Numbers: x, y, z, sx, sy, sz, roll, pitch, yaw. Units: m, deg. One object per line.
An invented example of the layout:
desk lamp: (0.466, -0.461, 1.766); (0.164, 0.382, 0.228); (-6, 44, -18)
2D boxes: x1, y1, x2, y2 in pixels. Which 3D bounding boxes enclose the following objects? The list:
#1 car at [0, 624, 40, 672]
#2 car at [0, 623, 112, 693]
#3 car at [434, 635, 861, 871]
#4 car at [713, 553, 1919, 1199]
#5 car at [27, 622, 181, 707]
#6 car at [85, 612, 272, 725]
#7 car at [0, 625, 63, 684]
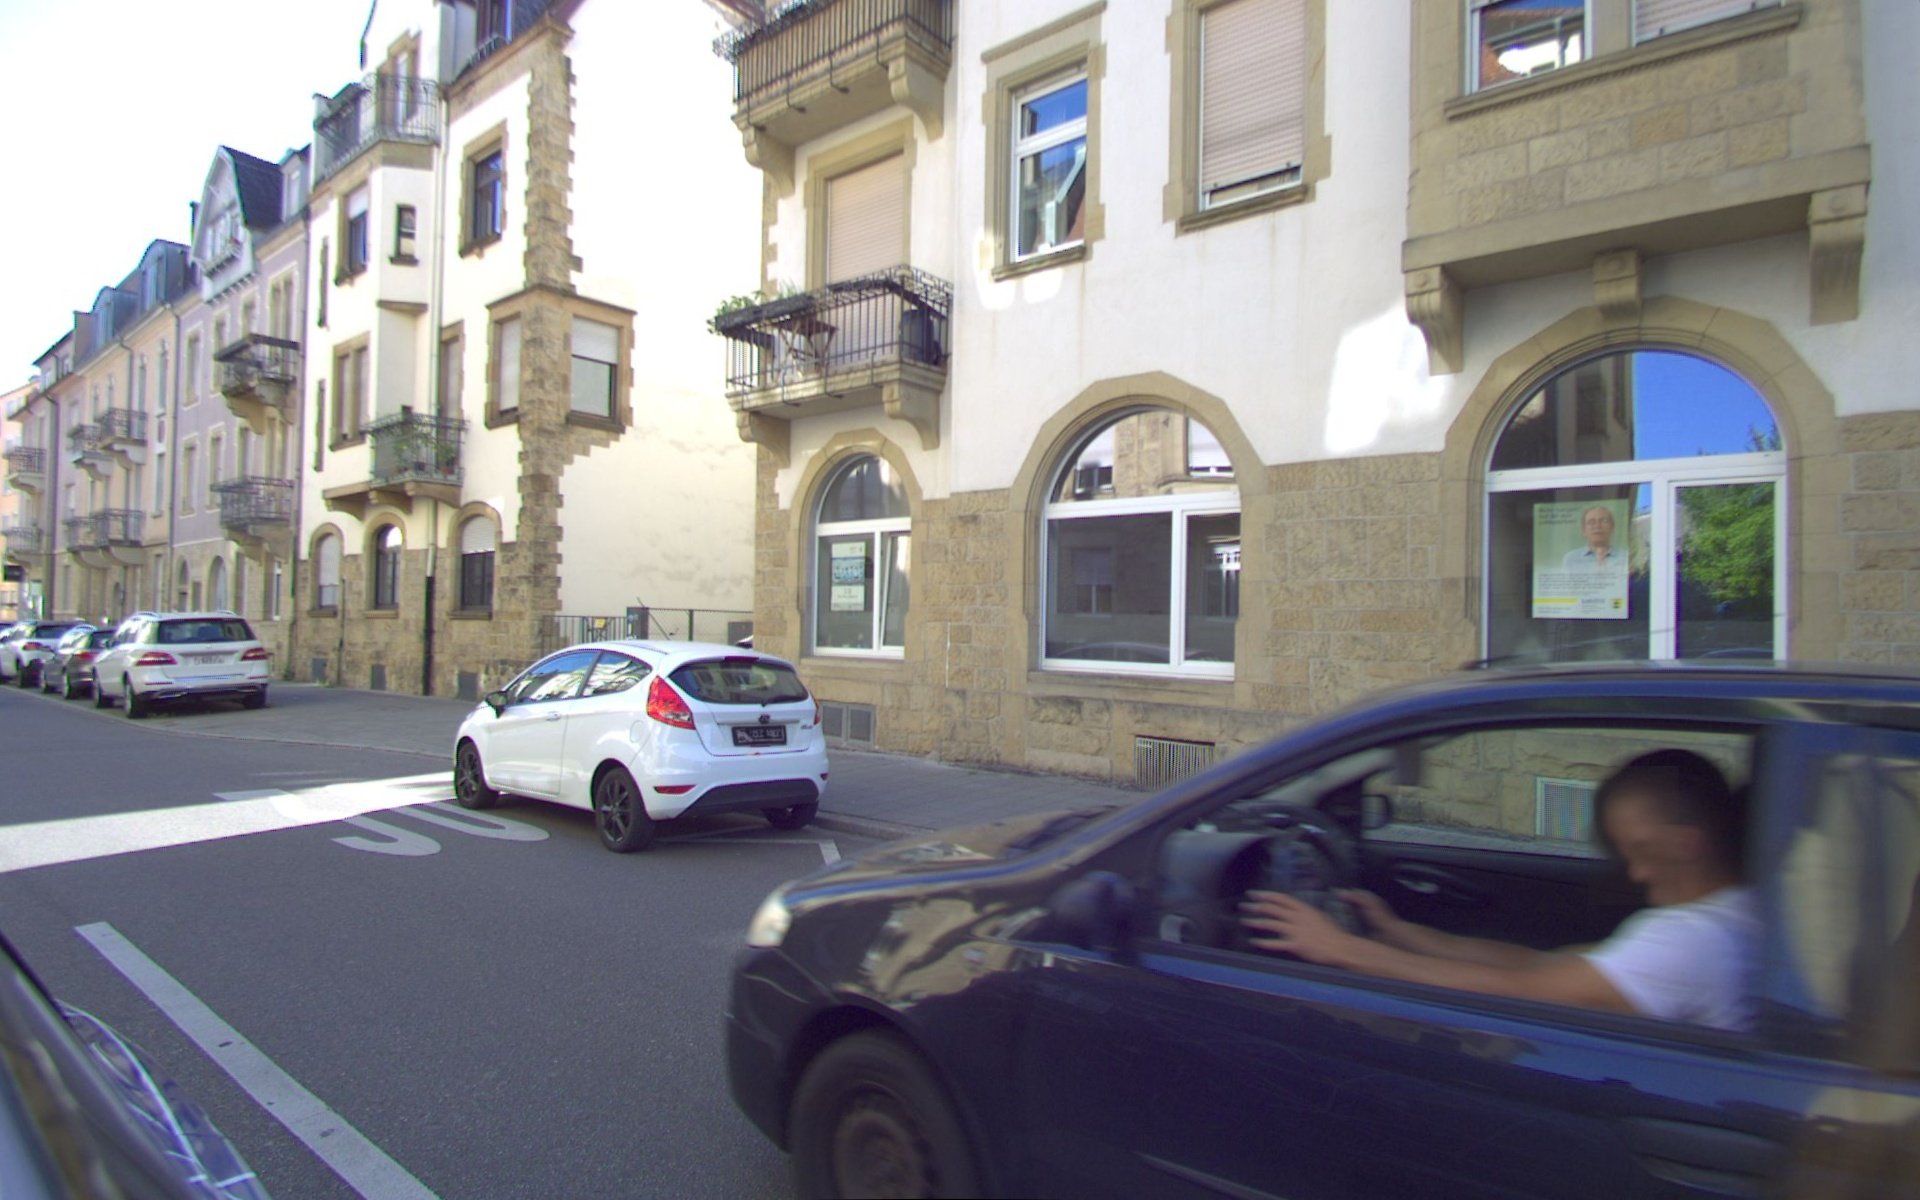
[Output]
car: (-32.930, 1.603, 34.467); (4.319, 1.520, 1.866); (-1, 0, 41)
car: (-22.951, 1.382, 25.429); (4.319, 1.520, 1.866); (-1, 0, 41)
car: (-2.645, 1.046, 8.180); (3.642, 1.469, 1.634); (-2, -5, 42)
car: (1.368, 0.705, 1.926); (3.636, 1.468, 1.637); (-1, -2, 37)
car: (-18.448, 1.290, 21.747); (4.319, 1.519, 1.866); (-1, 2, 41)
car: (-13.961, 1.099, 17.998); (4.209, 1.740, 1.866); (-1, 0, 41)
car: (-27.160, 1.516, 28.868); (4.317, 1.511, 1.833); (-1, 0, 41)
